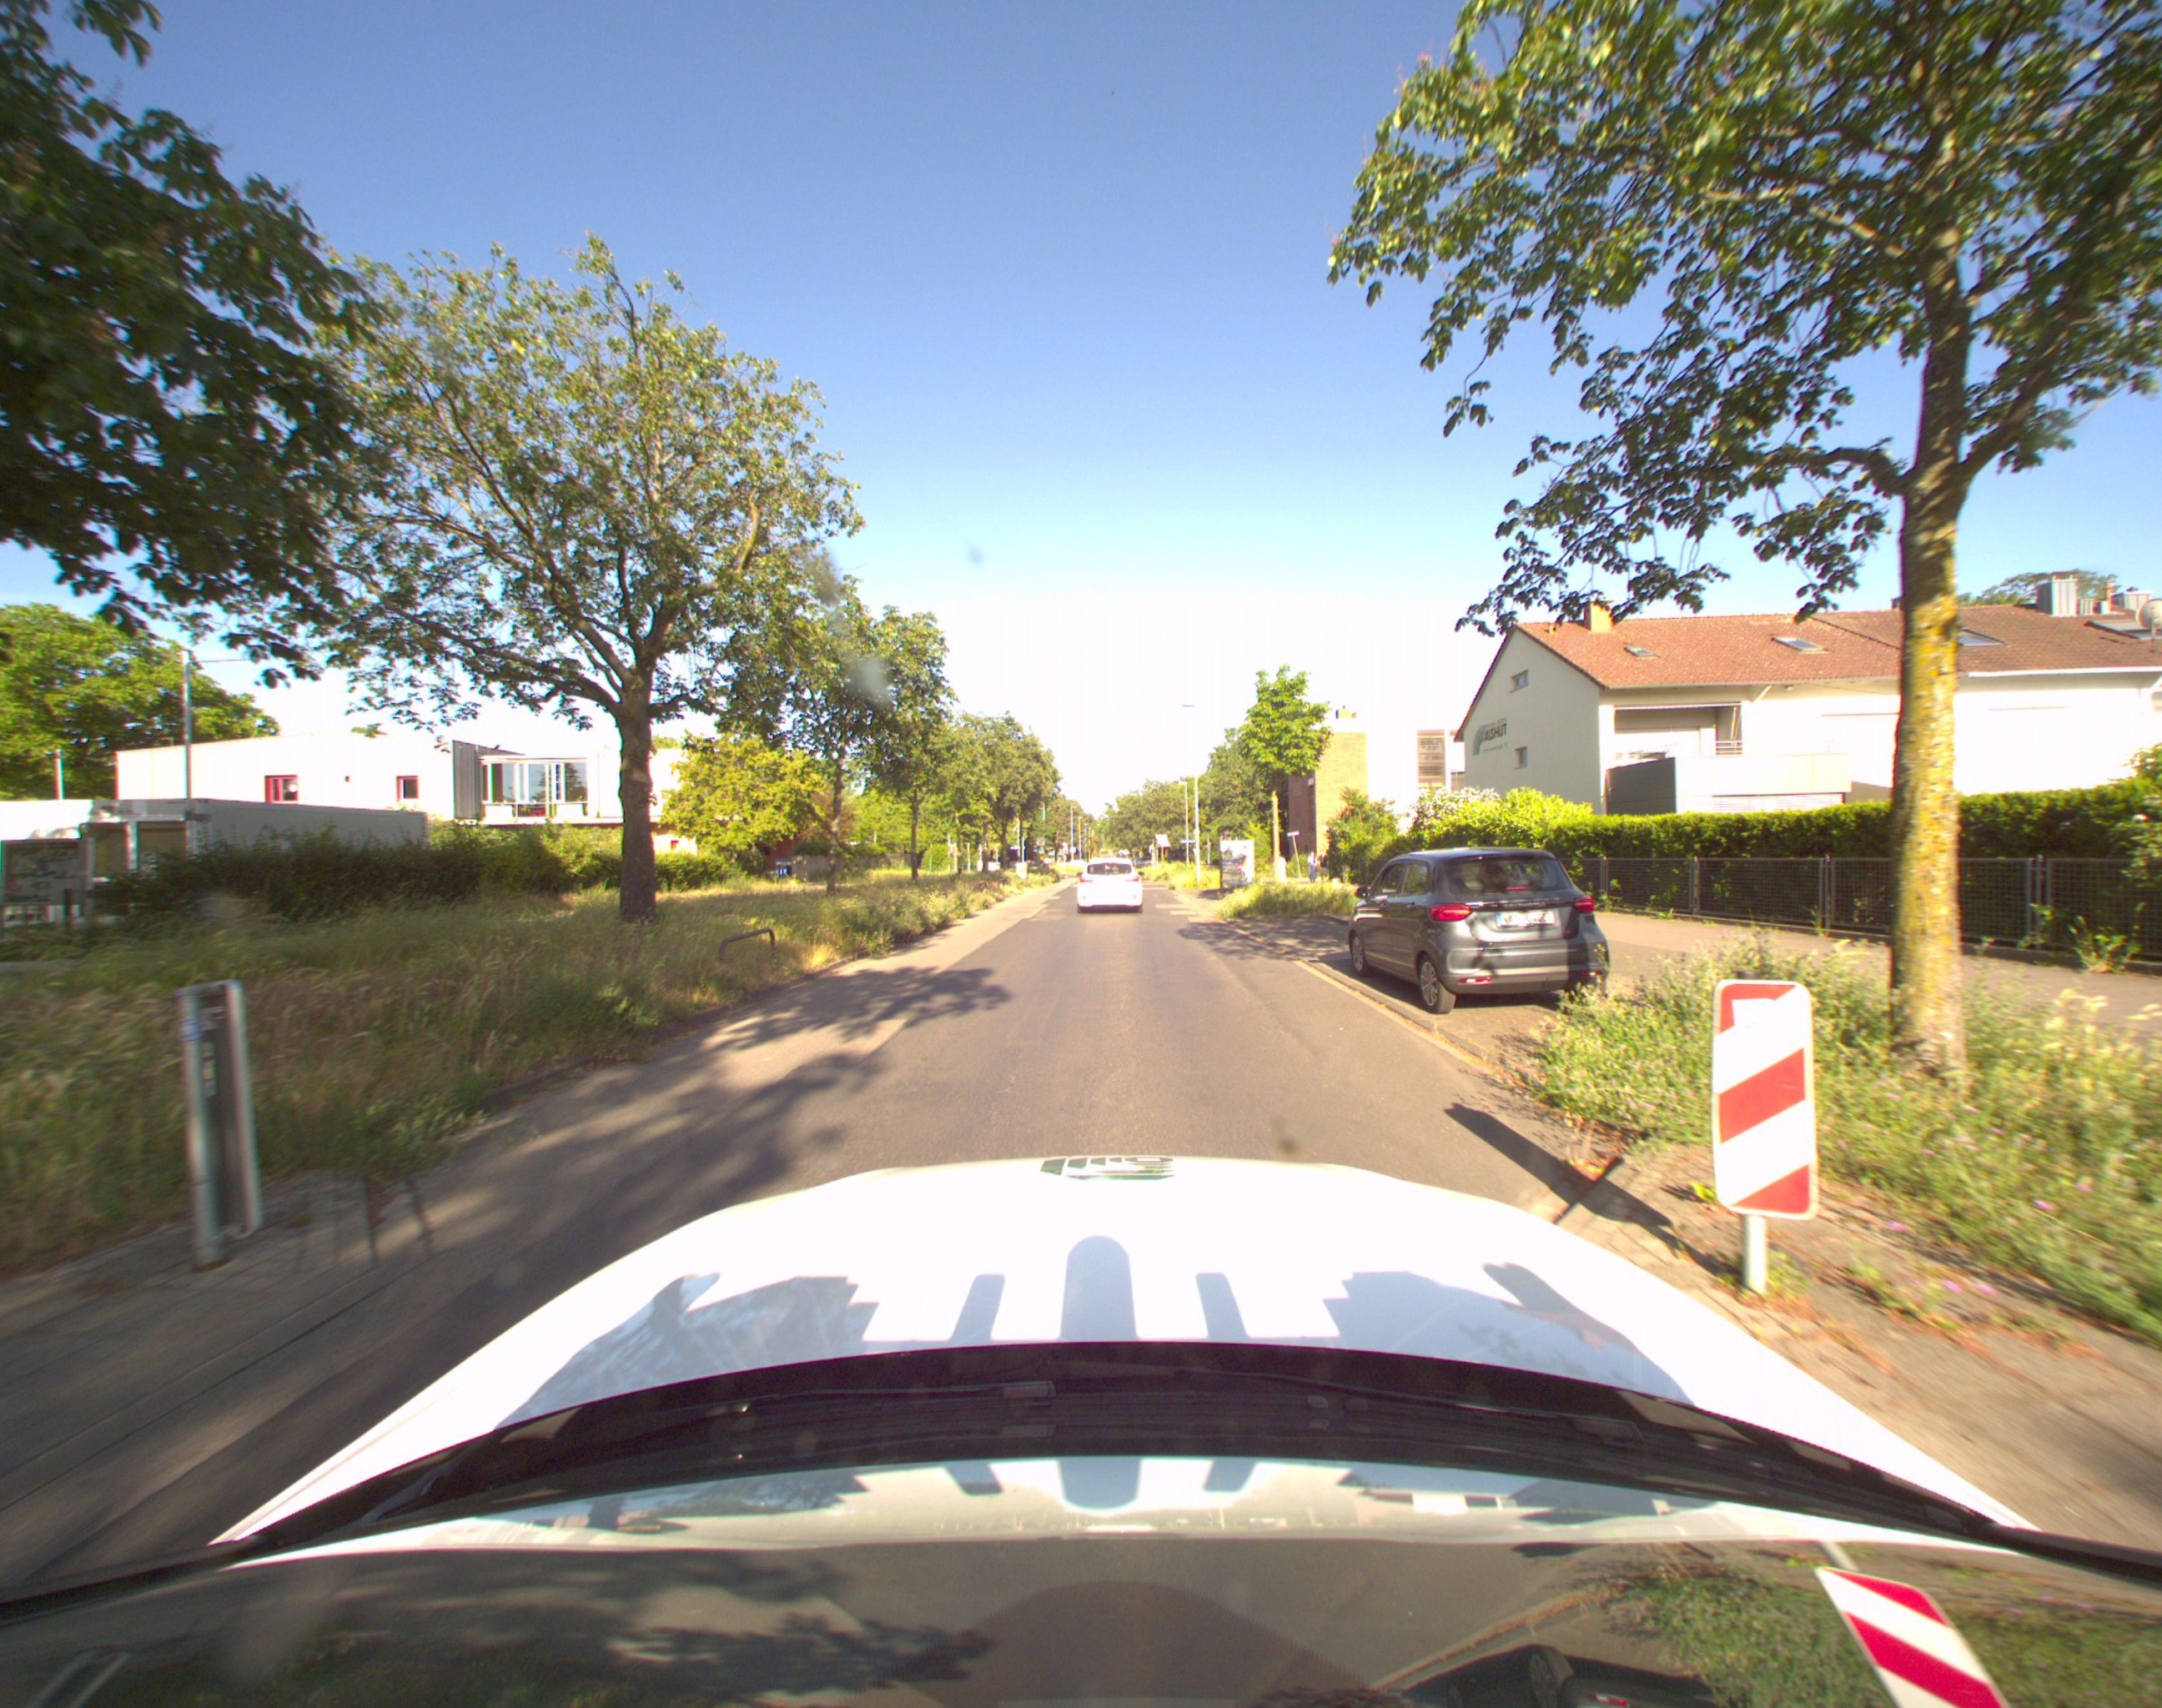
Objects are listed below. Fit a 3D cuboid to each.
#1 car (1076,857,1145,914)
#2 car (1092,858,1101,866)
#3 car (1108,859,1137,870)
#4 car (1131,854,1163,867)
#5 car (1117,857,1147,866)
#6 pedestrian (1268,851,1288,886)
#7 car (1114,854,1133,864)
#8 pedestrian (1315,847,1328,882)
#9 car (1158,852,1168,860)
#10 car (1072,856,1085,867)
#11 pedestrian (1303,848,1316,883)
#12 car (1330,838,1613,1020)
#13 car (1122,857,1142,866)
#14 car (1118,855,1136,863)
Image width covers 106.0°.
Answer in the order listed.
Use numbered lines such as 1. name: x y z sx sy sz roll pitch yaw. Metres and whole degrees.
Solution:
1. car: 0.841 0.833 23.381 1.782 1.463 3.965 -1 0 2
2. car: 3.674 1.869 190.223 1.986 1.816 4.002 0 0 2
3. car: 6.587 1.625 129.537 4.478 1.630 1.857 -1 -1 4
4. car: 9.513 0.977 117.464 4.478 1.783 1.857 -1 -1 4
5. car: 9.543 1.479 153.150 5.592 1.684 1.949 0 -1 1
6. pedestrian: 10.399 0.759 42.984 0.891 1.822 0.740 0 -1 22
7. car: 8.861 1.089 169.709 3.804 2.098 1.864 0 -1 2
8. pedestrian: 11.984 0.530 40.562 0.601 1.732 0.642 0 -1 18
9. car: 18.255 0.531 181.573 1.986 1.816 4.002 0 -1 2
10. car: -0.418 1.298 141.963 1.986 1.815 4.003 0 1 2
11. pedestrian: 11.435 0.556 40.739 0.549 1.732 0.664 0 -1 18
12. car: 4.078 0.684 9.162 1.487 1.574 3.602 -3 0 2
13. car: 9.951 1.461 159.630 3.804 1.684 1.864 0 -1 2
14. car: 11.098 1.175 196.993 4.285 1.908 1.864 0 -1 2
